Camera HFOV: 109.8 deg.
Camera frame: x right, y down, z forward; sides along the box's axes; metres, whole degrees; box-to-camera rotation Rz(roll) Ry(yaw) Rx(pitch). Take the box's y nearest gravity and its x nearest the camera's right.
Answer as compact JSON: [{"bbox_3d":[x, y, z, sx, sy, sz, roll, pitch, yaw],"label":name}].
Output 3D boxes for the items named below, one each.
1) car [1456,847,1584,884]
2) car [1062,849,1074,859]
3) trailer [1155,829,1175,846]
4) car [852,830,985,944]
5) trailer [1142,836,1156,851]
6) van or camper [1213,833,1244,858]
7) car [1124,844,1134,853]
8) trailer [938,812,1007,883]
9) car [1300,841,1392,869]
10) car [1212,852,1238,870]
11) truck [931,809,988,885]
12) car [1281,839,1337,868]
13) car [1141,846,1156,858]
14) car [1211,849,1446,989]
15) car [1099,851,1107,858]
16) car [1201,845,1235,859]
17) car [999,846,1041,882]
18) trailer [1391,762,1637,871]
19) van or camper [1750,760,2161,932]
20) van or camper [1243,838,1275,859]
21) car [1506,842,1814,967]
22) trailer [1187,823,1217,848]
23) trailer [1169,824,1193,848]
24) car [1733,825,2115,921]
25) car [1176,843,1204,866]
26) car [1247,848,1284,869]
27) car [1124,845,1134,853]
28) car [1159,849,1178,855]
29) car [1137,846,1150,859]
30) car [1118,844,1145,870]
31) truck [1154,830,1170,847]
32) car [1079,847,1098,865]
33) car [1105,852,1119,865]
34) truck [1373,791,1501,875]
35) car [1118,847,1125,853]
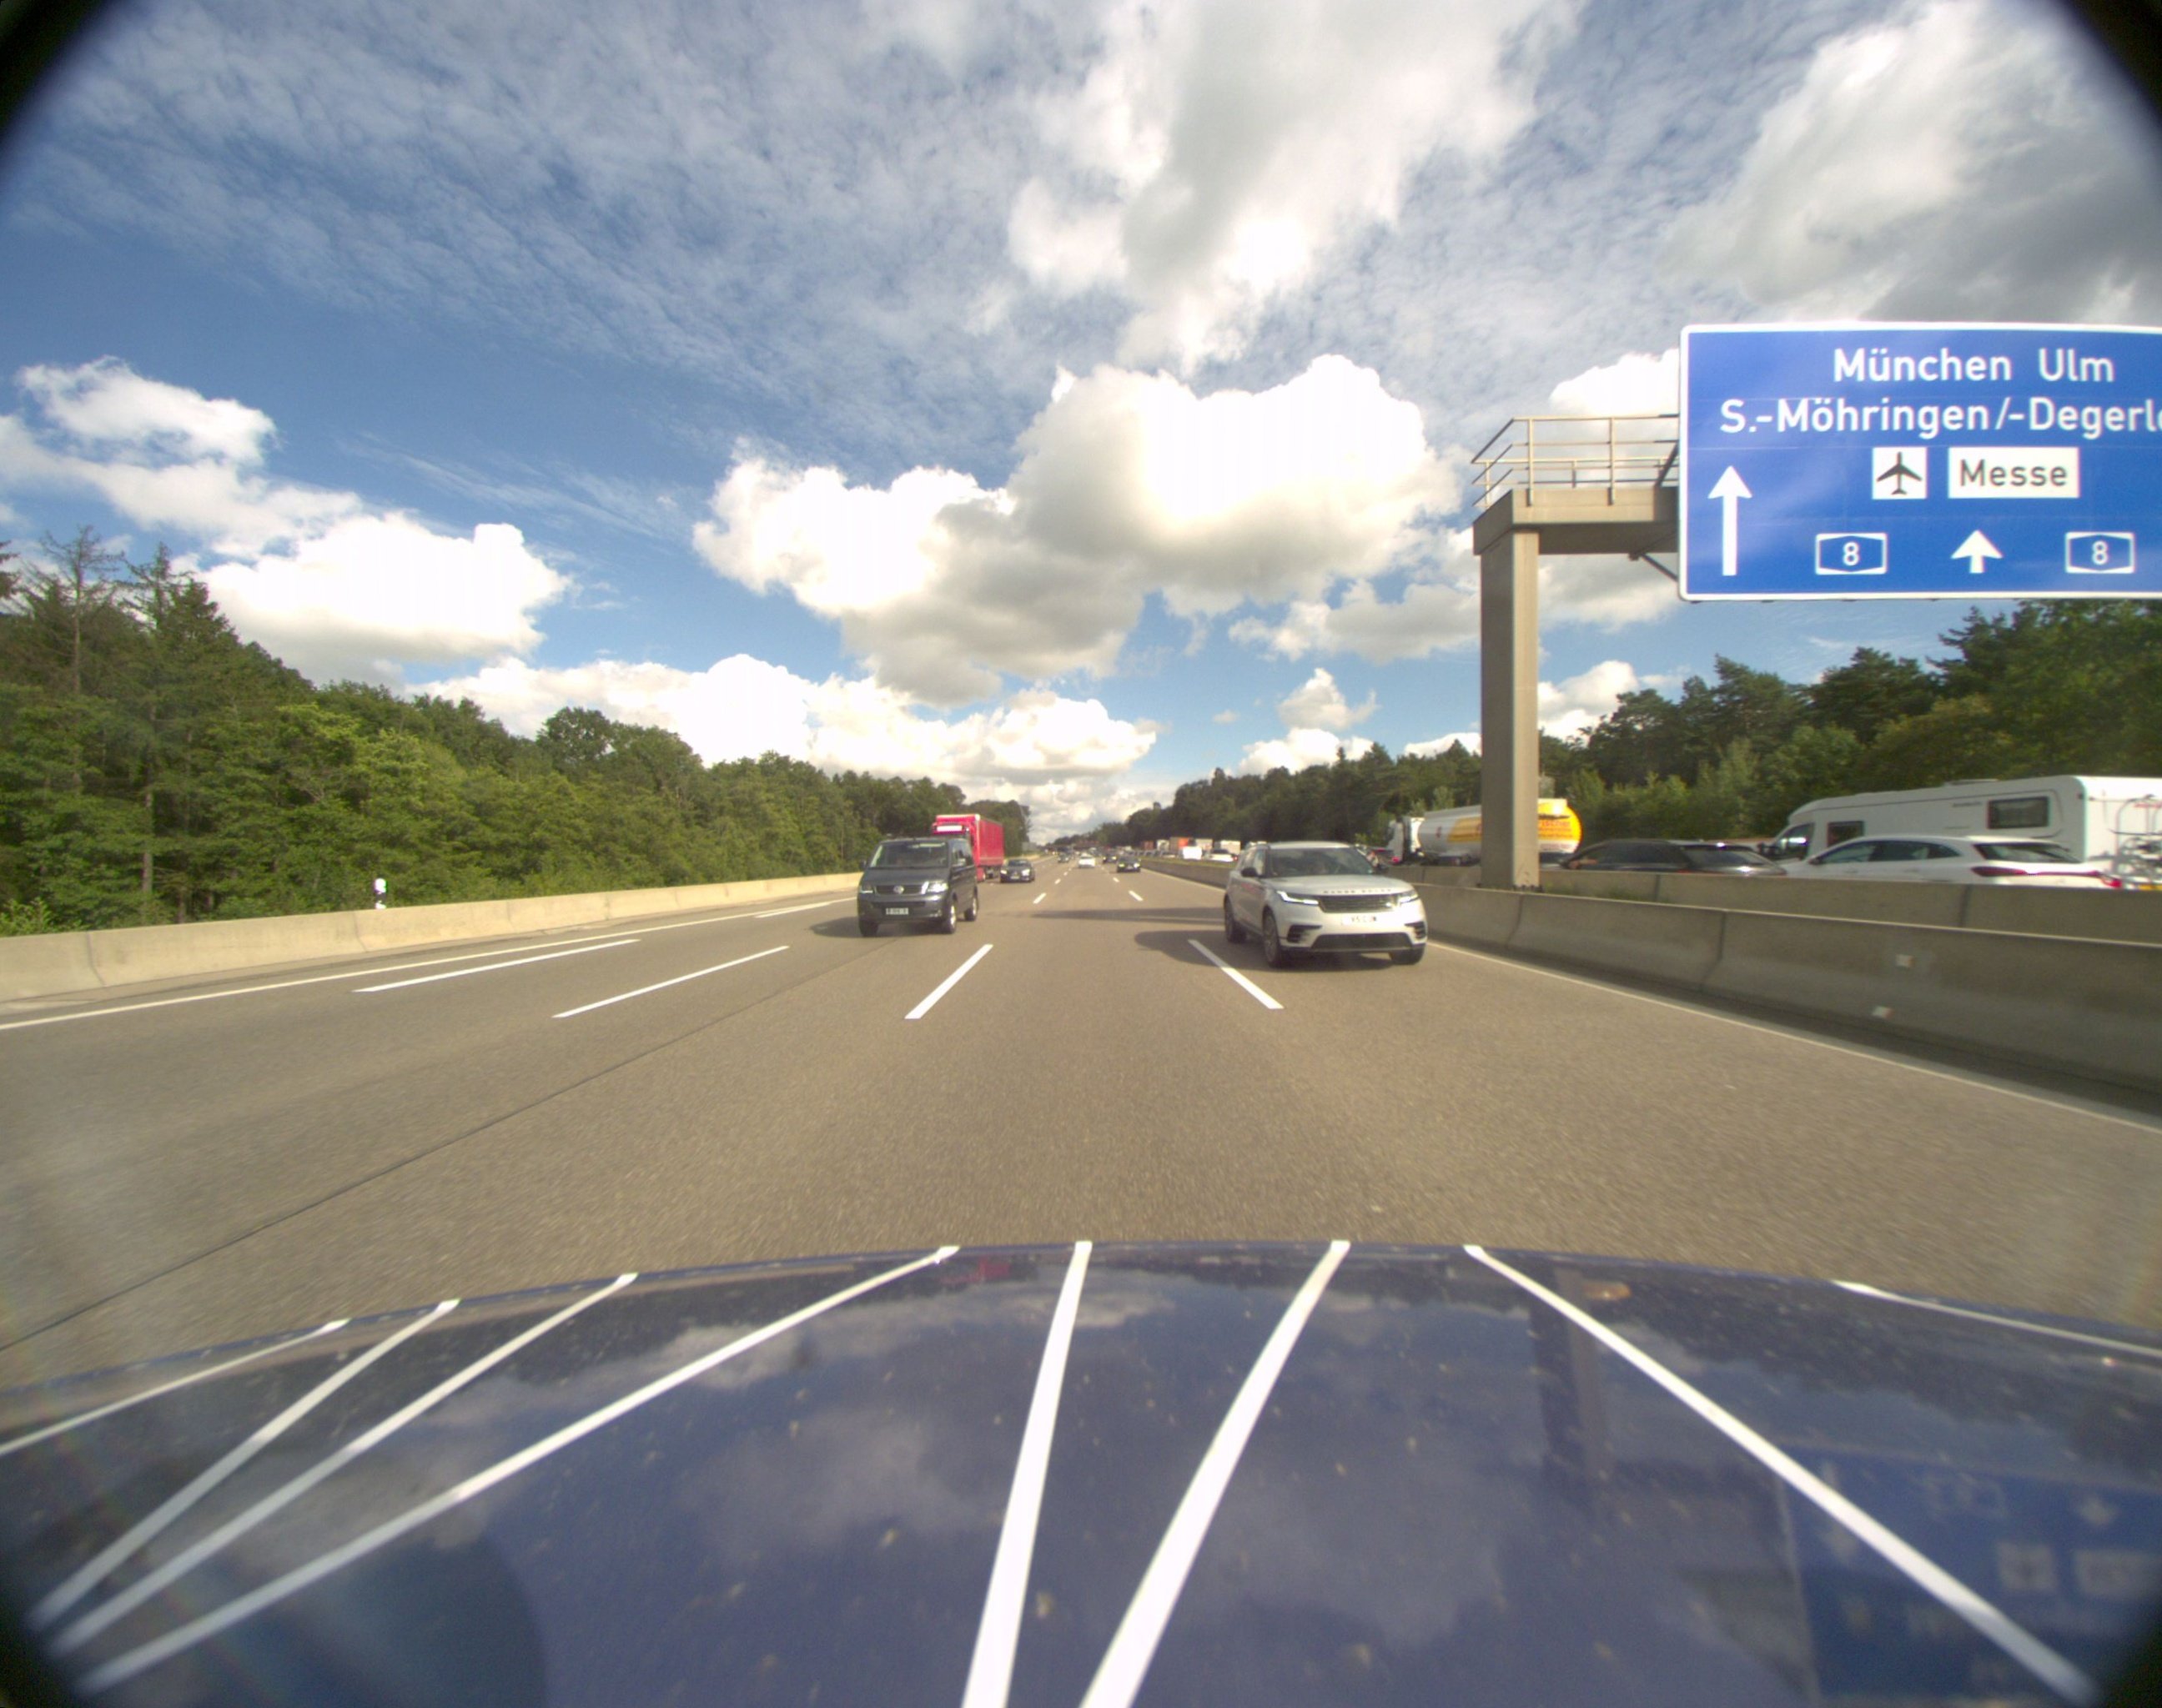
[{"bbox_3d":[13.819,0.322,24.232,1.544,0.999,4.390,-2,0,0],"label":"car"},{"bbox_3d":[-2.317,0.028,130.162,1.911,1.582,4.286,-2,1,-2],"label":"car"},{"bbox_3d":[18.275,-3.582,165.322,2.957,3.478,12.229,-2,1,0],"label":"trailer"},{"bbox_3d":[-3.419,0.634,17.051,1.927,2.153,4.960,-1,0,-1],"label":"car"},{"bbox_3d":[19.040,-2.981,213.357,2.957,3.961,12.889,-2,1,0],"label":"trailer"},{"bbox_3d":[18.623,-1.108,96.326,2.476,2.873,7.479,-2,2,1],"label":"van or camper"},{"bbox_3d":[11.002,-1.322,173.762,1.821,1.871,4.902,-2,1,0],"label":"car"},{"bbox_3d":[-7.091,-0.458,52.048,2.531,4.096,14.375,-1,1,0],"label":"trailer"},{"bbox_3d":[10.140,0.026,29.529,1.671,0.922,5.463,-2,0,0],"label":"car"},{"bbox_3d":[14.791,0.672,78.275,1.804,1.622,4.662,-4,1,0],"label":"car"},{"bbox_3d":[-7.110,-0.409,45.028,2.532,4.178,4.652,-1,1,0],"label":"truck"},{"bbox_3d":[14.289,-0.031,47.865,2.013,1.646,4.782,-2,1,0],"label":"car"},{"bbox_3d":[10.432,-0.277,117.391,1.821,1.754,4.629,-2,1,0],"label":"car"},{"bbox_3d":[3.353,0.760,11.497,1.904,1.597,5.105,-2,0,1],"label":"car"},{"bbox_3d":[5.741,0.005,199.484,1.804,1.783,3.758,-1,0,0],"label":"car"},{"bbox_3d":[10.110,-0.177,56.413,1.647,0.934,4.488,-2,0,0],"label":"car"},{"bbox_3d":[-3.621,0.553,45.967,1.998,2.002,4.000,-3,1,2],"label":"car"},{"bbox_3d":[18.294,-1.390,33.965,3.420,3.806,13.259,-2,0,0],"label":"trailer"},{"bbox_3d":[17.763,-0.237,15.195,2.330,2.628,7.395,-2,1,1],"label":"van or camper"},{"bbox_3d":[18.157,-0.584,77.725,2.289,2.000,4.688,-2,1,3],"label":"van or camper"},{"bbox_3d":[9.938,0.730,13.691,1.771,1.788,4.938,-2,0,0],"label":"car"},{"bbox_3d":[18.538,-2.882,116.966,2.895,3.638,10.217,-2,2,0],"label":"trailer"},{"bbox_3d":[18.364,-3.271,140.297,2.646,4.295,13.174,0,1,0],"label":"trailer"},{"bbox_3d":[13.952,0.262,13.086,1.567,1.316,4.536,-2,0,0],"label":"car"},{"bbox_3d":[10.371,0.033,72.615,1.837,2.050,5.500,0,1,0],"label":"car"},{"bbox_3d":[14.266,0.337,58.943,1.837,1.528,4.242,-2,1,0],"label":"car"},{"bbox_3d":[10.936,-1.056,173.729,1.821,1.735,4.902,-2,1,0],"label":"car"},{"bbox_3d":[10.128,-0.236,88.535,1.651,0.720,4.447,-2,1,0],"label":"car"},{"bbox_3d":[10.564,-0.237,128.600,1.747,2.002,4.682,-2,1,0],"label":"car"},{"bbox_3d":[4.094,0.221,62.292,1.919,2.002,4.000,-4,1,2],"label":"car"},{"bbox_3d":[18.319,-3.556,172.017,2.964,3.725,5.108,-1,1,0],"label":"truck"},{"bbox_3d":[0.898,0.218,85.820,1.998,2.002,4.000,-2,0,2],"label":"car"},{"bbox_3d":[4.465,0.631,110.189,1.911,1.582,4.287,-2,1,0],"label":"car"},{"bbox_3d":[18.310,-1.008,39.718,3.425,3.877,6.801,-2,0,0],"label":"truck"},{"bbox_3d":[10.870,-1.152,201.872,1.515,1.552,3.999,-2,1,-1],"label":"car"}]
